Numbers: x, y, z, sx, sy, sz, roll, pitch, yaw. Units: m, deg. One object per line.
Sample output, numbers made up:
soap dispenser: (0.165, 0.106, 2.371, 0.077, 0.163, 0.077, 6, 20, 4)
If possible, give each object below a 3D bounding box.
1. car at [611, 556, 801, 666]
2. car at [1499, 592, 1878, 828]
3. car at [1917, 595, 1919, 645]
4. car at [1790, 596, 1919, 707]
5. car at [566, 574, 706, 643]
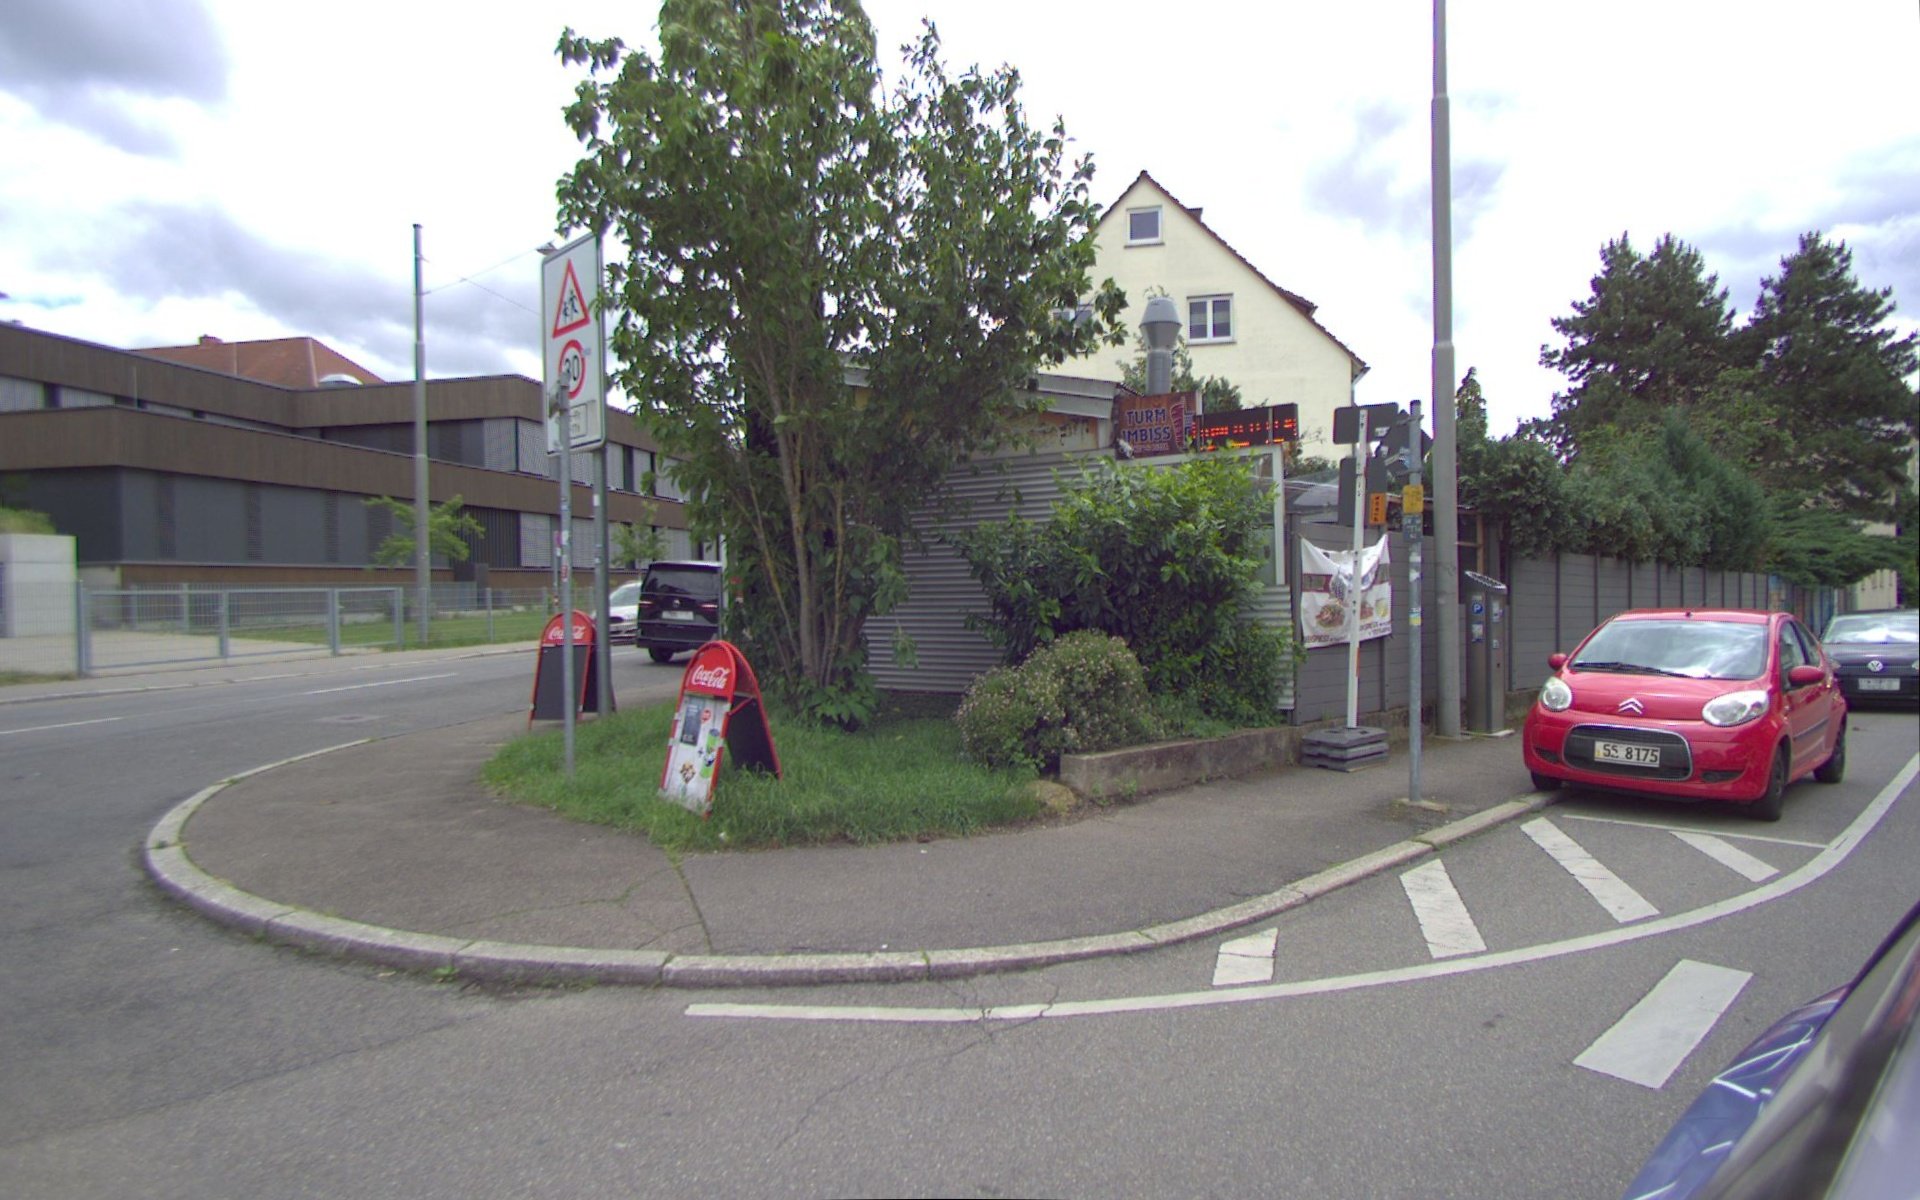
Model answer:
car: (-4.791, 0.149, 19.780, 1.968, 1.901, 4.380, 1, 1, 11)
car: (6.209, 0.693, 8.456, 3.930, 1.499, 1.718, 0, 1, -41)
car: (28.565, 0.585, 28.496, 4.278, 1.518, 1.992, 0, -2, -42)
car: (14.116, 0.707, 15.215, 3.930, 1.500, 1.817, 0, -3, -41)
car: (-8.910, 0.188, 28.278, 1.967, 1.763, 4.382, 1, 1, 9)
